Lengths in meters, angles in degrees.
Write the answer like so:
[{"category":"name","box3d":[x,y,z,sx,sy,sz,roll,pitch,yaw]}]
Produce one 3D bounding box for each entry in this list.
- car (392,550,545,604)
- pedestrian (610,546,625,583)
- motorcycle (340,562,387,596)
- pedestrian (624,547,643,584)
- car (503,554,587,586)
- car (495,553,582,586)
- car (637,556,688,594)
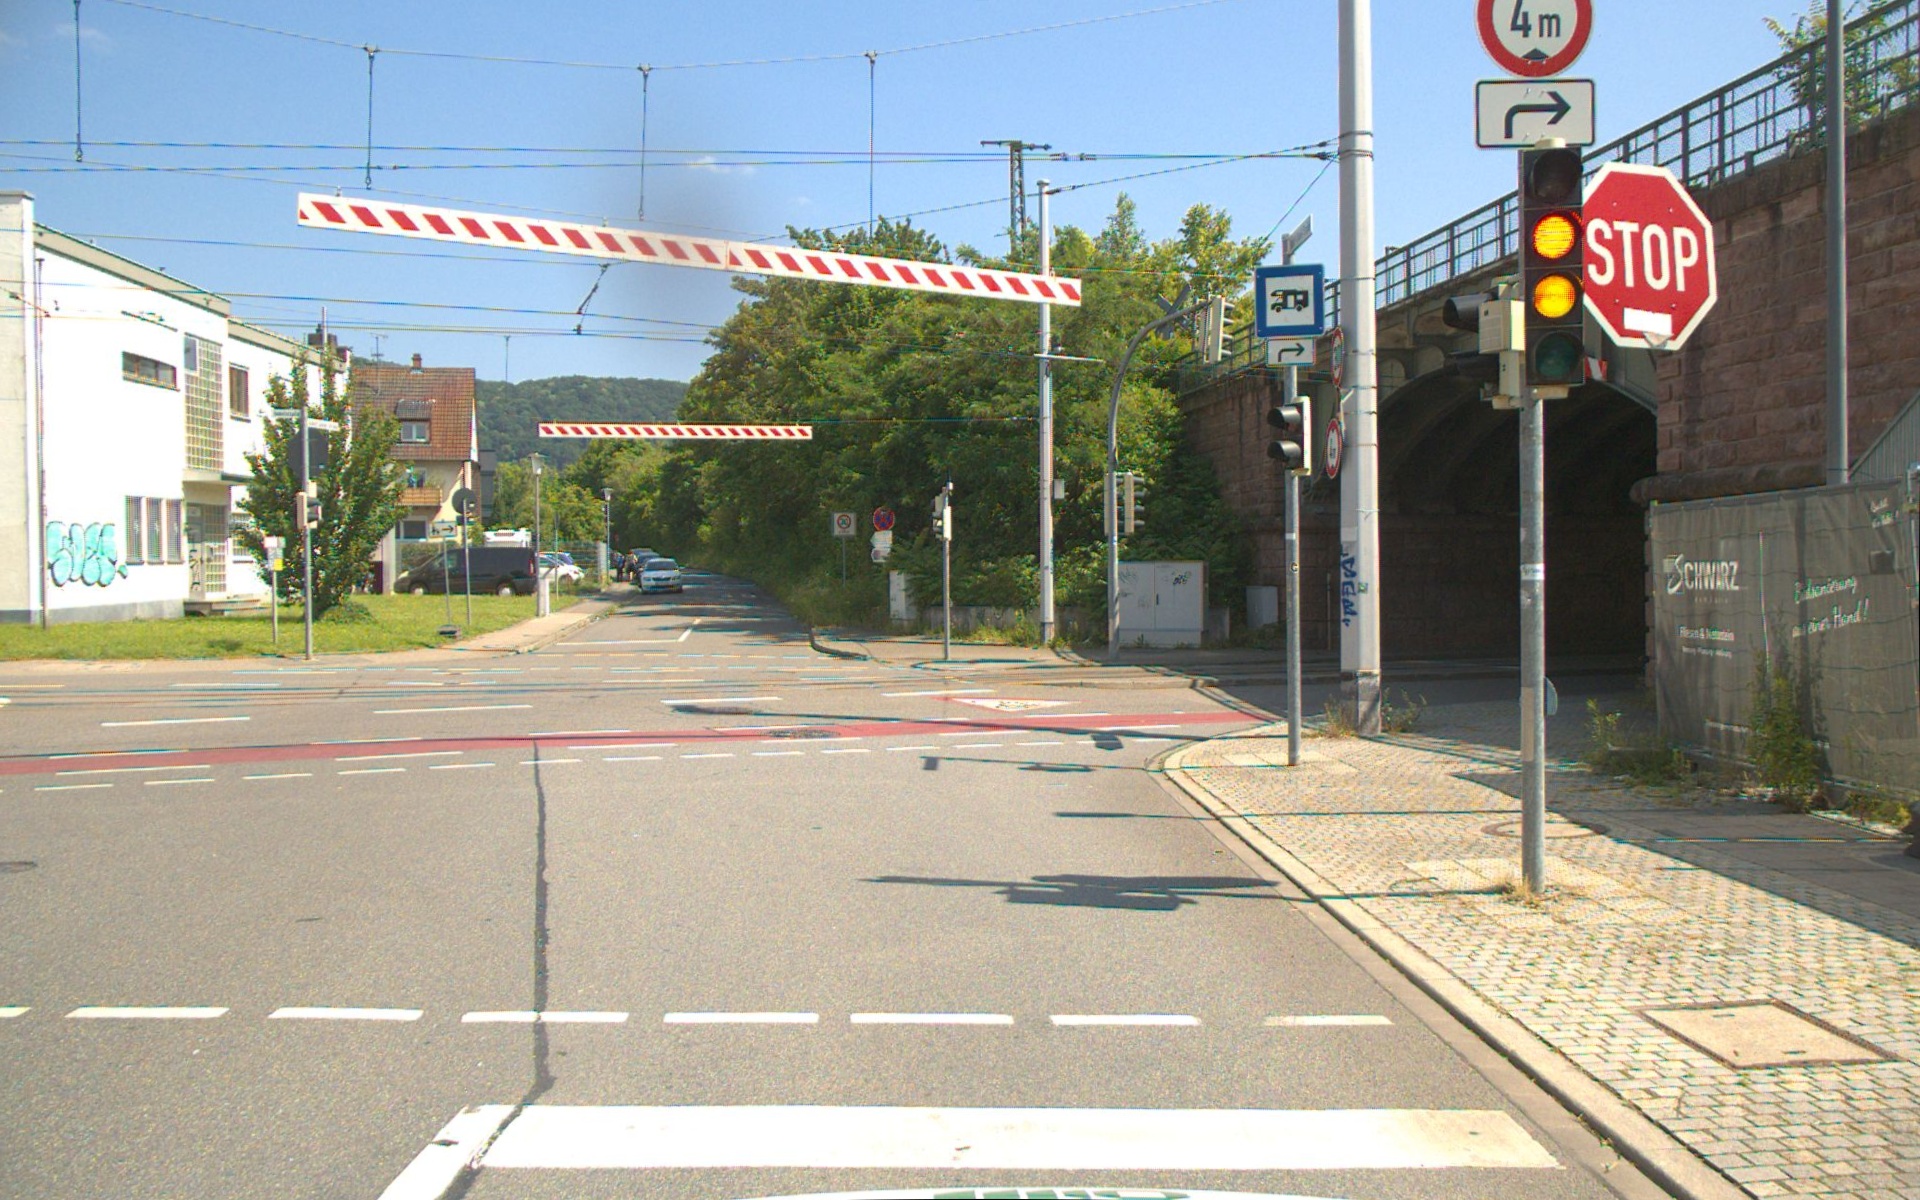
[{"category":"car","box3d":[-18.042,-0.846,60.922,5.153,1.847,1.995,-1,1,-11]},{"category":"pedestrian","box3d":[-17.186,-1.785,82.969,0.642,1.793,0.802,1,-1,-10]},{"category":"motorcycle","box3d":[-19.665,-0.681,54.614,0.835,1.050,2.564,1,0,-6]},{"category":"pedestrian","box3d":[-16.370,-1.724,82.970,0.860,1.793,0.729,1,-1,-10]},{"category":"car","box3d":[-19.424,-1.382,77.536,3.650,1.395,1.602,1,0,-8]},{"category":"car","box3d":[-19.127,-1.370,75.121,3.650,1.395,1.601,1,0,-8]},{"category":"car","box3d":[-13.009,-1.115,72.539,2.048,1.536,4.531,1,2,-9]}]
